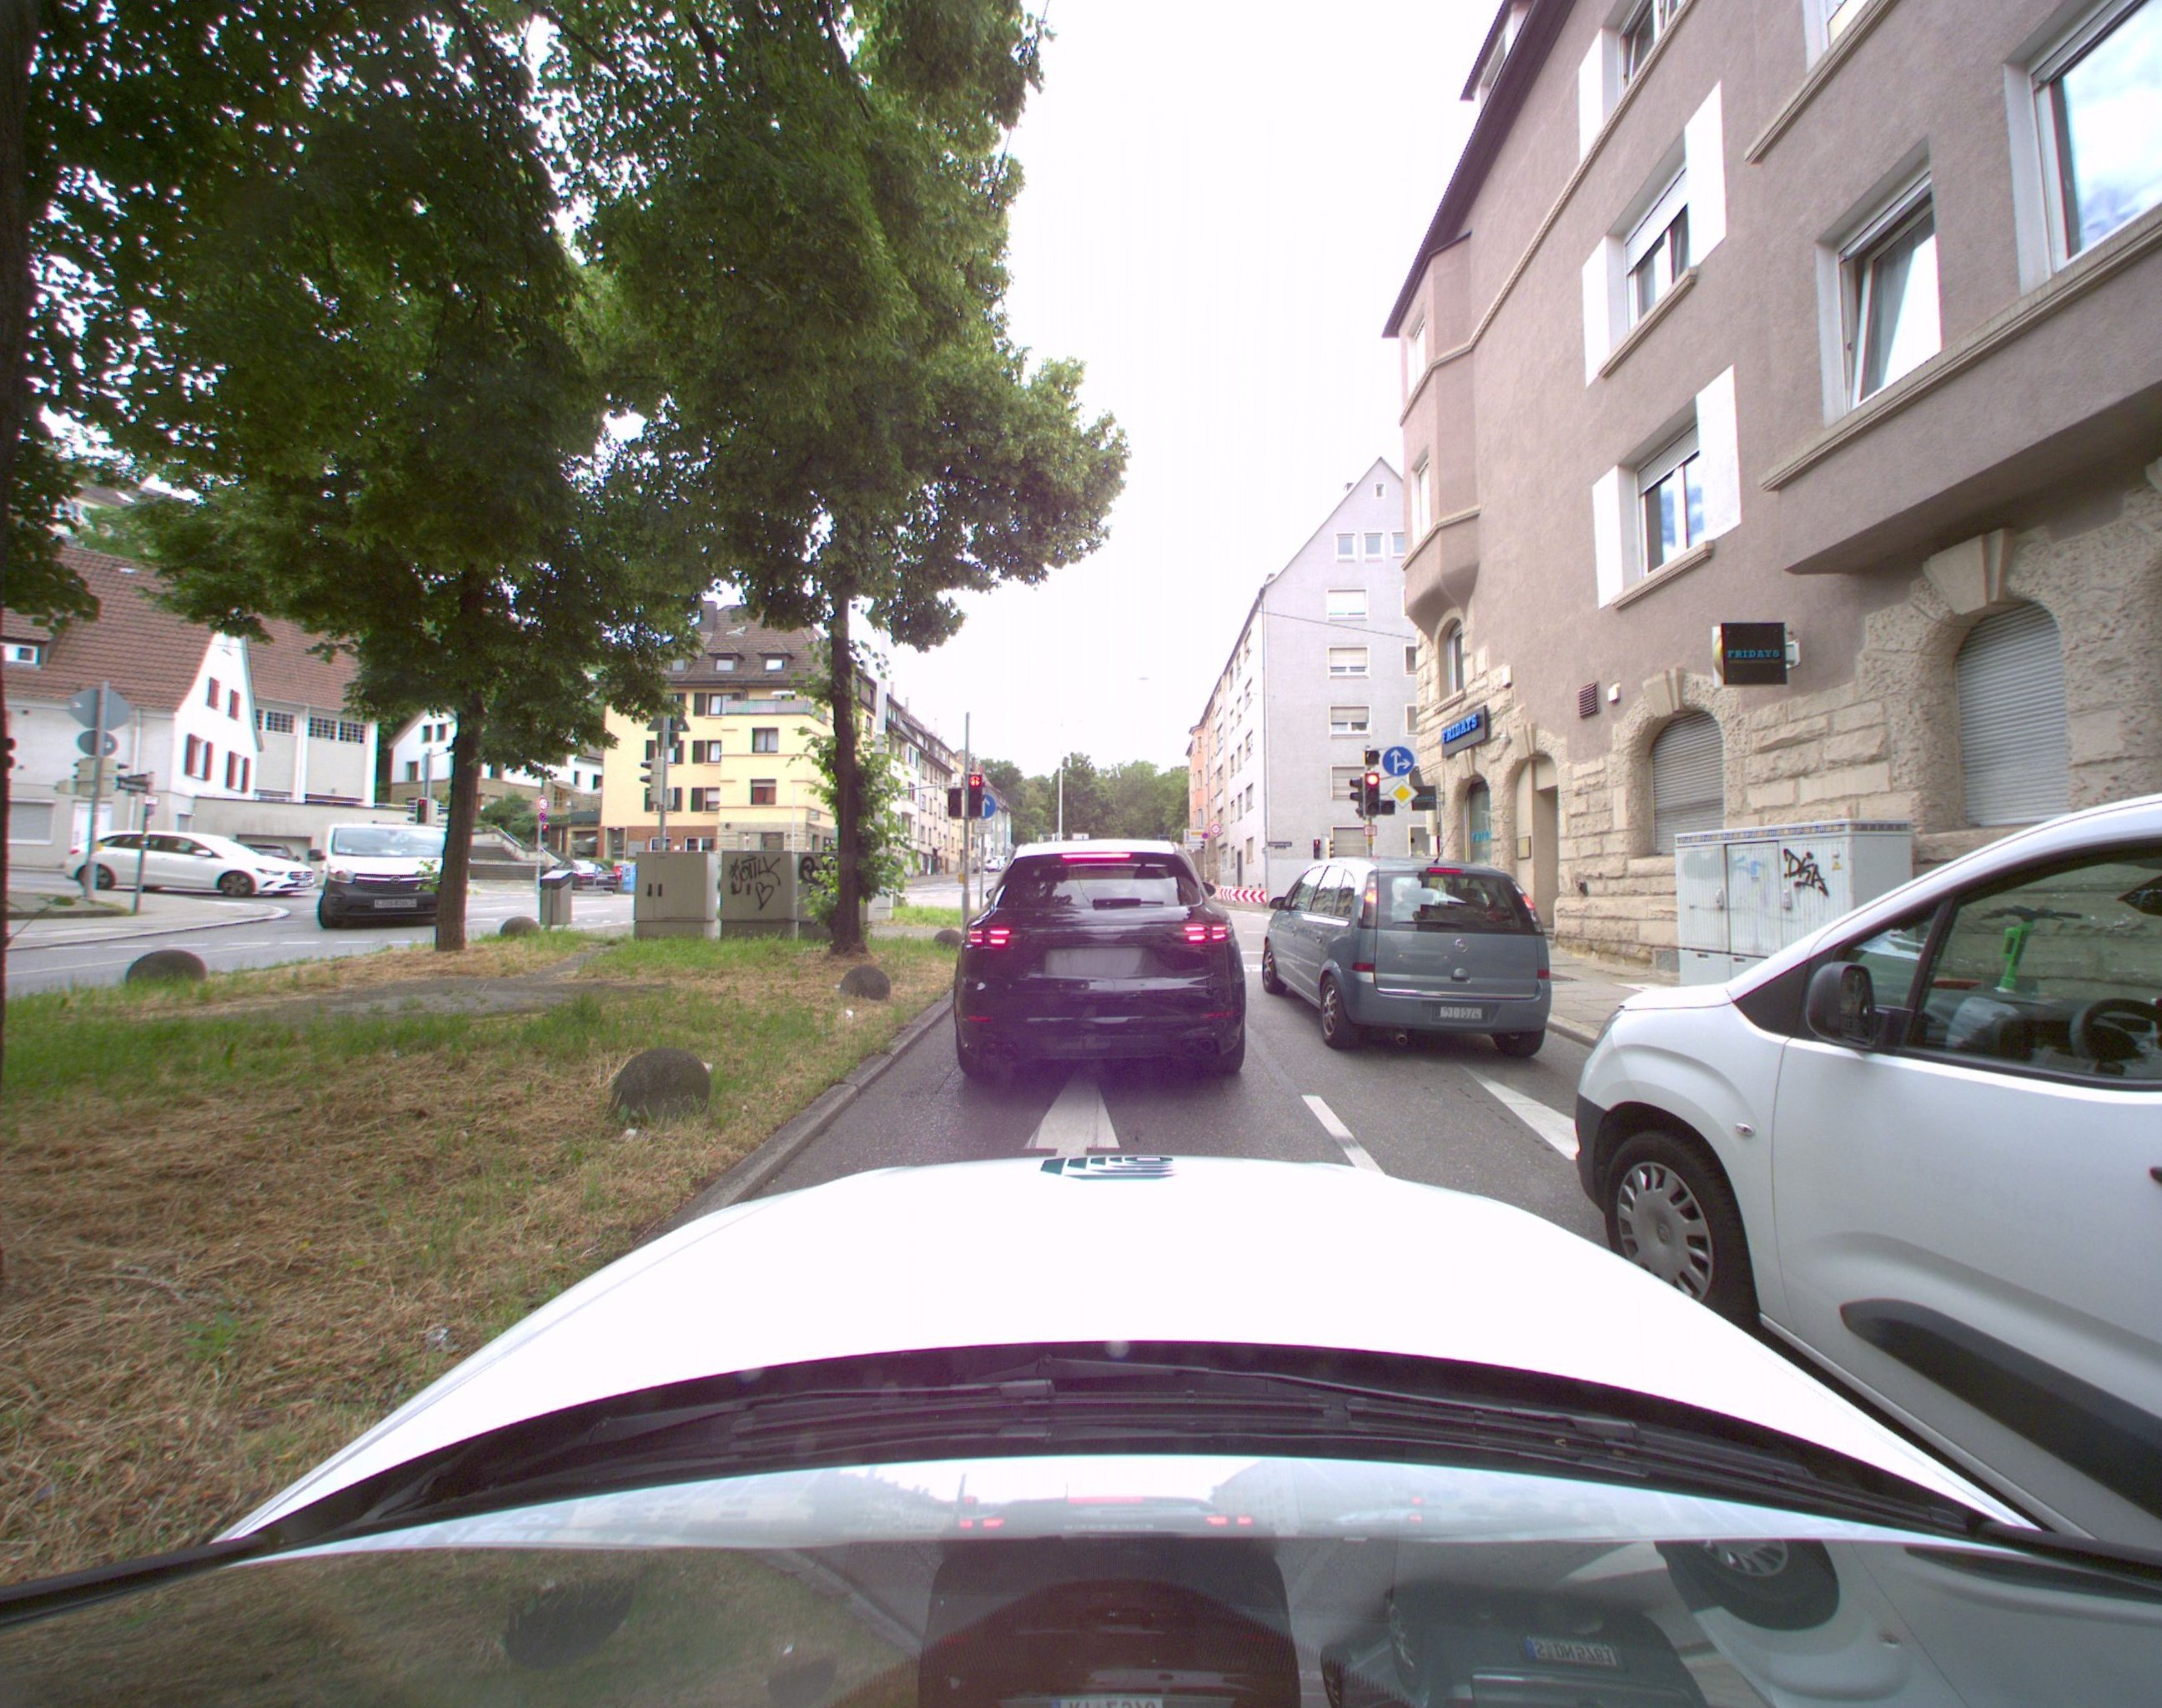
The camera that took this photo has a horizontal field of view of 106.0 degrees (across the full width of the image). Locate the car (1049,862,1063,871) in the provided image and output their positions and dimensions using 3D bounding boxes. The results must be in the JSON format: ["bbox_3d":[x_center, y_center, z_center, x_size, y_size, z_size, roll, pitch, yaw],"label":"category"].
[{"bbox_3d":[-3.806,1.924,125.270,1.854,1.388,4.096,0,-1,2],"label":"car"}]

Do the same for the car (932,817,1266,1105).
[{"bbox_3d":[0.165,0.652,6.828,1.948,1.674,4.001,-1,-1,2],"label":"car"}]

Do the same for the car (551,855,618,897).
[{"bbox_3d":[-23.630,1.009,38.709,3.477,1.596,1.881,7,4,44],"label":"car"}]

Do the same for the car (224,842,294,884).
[{"bbox_3d":[-32.231,0.347,31.919,3.019,1.405,1.681,2,-4,42],"label":"car"}]

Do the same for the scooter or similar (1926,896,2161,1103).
[{"bbox_3d":[6.430,0.859,5.255,0.524,1.104,1.424,-1,-1,4],"label":"scooter or similar"}]

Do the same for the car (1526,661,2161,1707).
[{"bbox_3d":[2.833,0.595,1.017,1.969,1.775,4.676,3,-1,0],"label":"car"}]

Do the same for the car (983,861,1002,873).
[{"bbox_3d":[-10.822,1.559,99.494,1.732,1.387,3.815,0,-1,2],"label":"car"}]

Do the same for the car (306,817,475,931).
[{"bbox_3d":[-13.967,0.325,16.349,5.240,1.945,2.012,0,0,43],"label":"car"}]

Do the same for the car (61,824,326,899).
[{"bbox_3d":[-22.816,0.217,21.163,4.260,1.594,1.681,4,-2,-17],"label":"car"}]

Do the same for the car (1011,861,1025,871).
[{"bbox_3d":[-9.665,1.883,125.396,1.682,1.538,3.815,0,-1,2],"label":"car"}]

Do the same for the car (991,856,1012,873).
[{"bbox_3d":[-10.220,1.358,104.609,2.008,2.045,4.669,0,-1,2],"label":"car"}]

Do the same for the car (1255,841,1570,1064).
[{"bbox_3d":[2.872,0.748,7.928,1.622,1.598,3.670,3,0,2],"label":"car"}]
